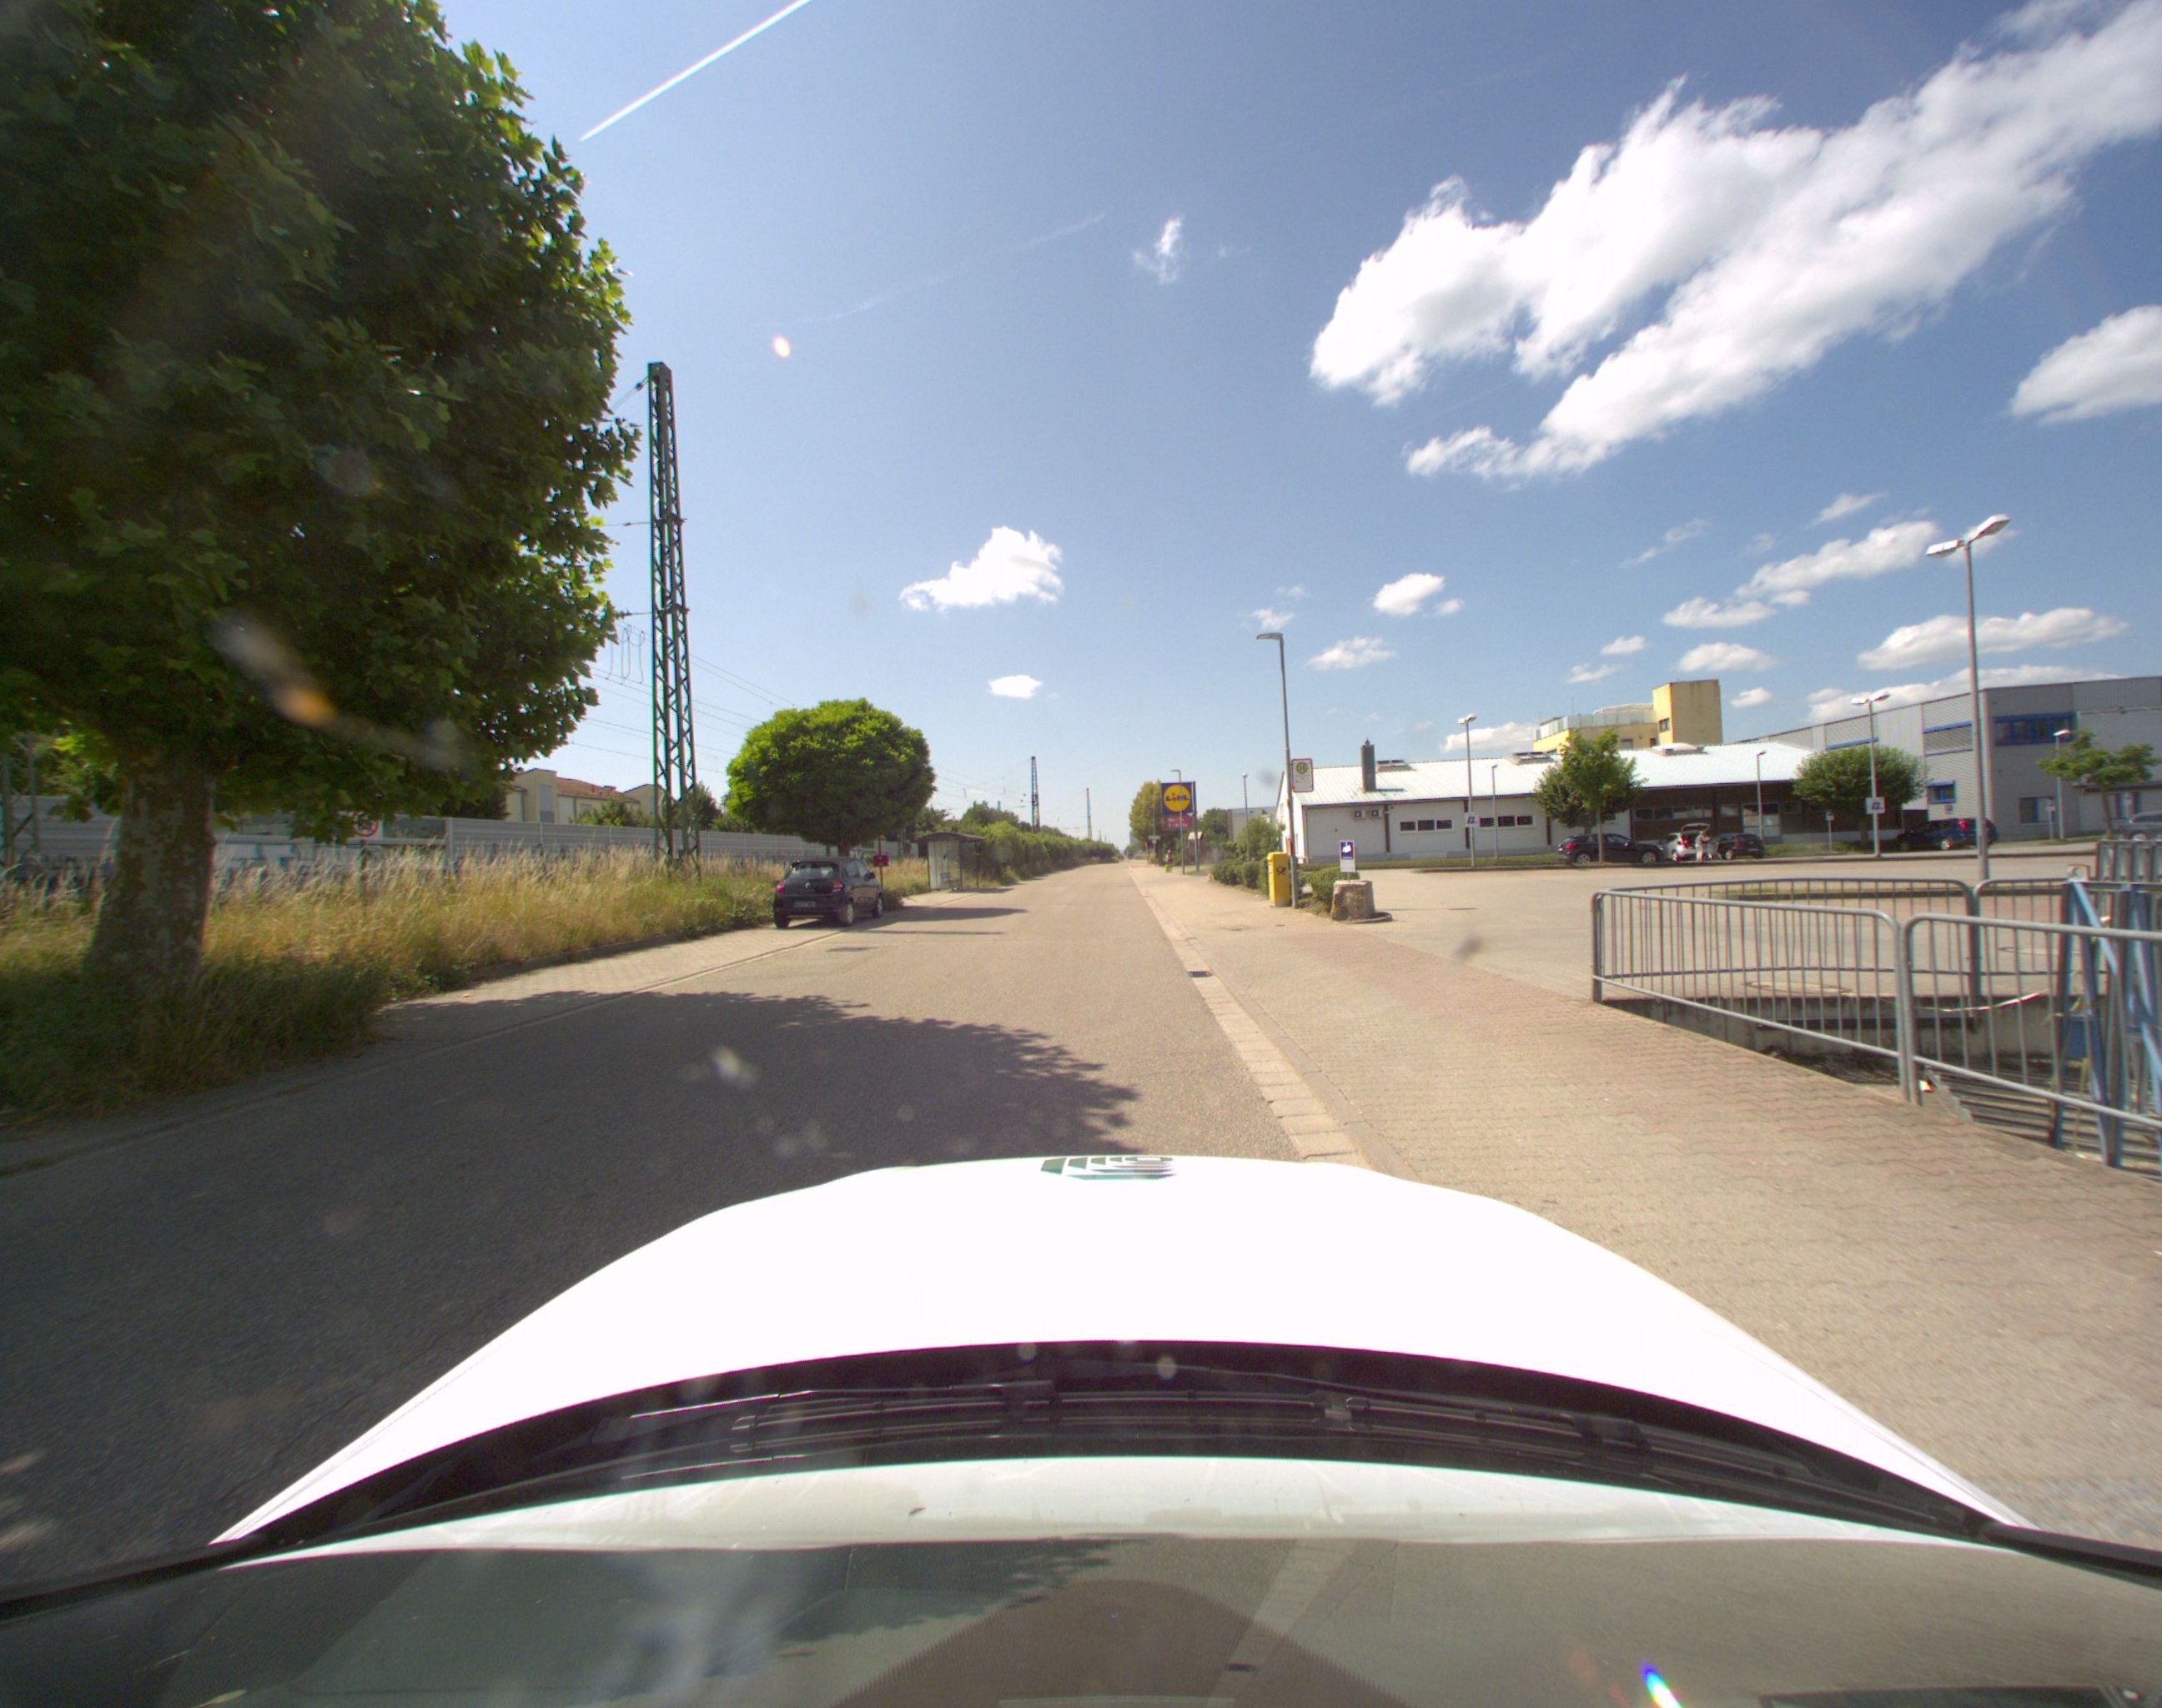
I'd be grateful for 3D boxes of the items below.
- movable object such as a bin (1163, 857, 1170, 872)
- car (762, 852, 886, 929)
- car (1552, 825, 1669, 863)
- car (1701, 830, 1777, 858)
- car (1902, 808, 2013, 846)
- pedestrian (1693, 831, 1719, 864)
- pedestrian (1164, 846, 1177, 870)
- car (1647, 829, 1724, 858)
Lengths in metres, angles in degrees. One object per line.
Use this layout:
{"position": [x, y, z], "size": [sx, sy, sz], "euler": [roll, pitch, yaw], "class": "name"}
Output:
{"position": [5.927, 0.723, 56.663], "size": [0.373, 1.029, 0.498], "euler": [-3, 0, -2], "class": "movable object such as a bin"}
{"position": [-5.955, 0.781, 19.277], "size": [1.736, 1.596, 3.579], "euler": [-2, 0, 0], "class": "car"}
{"position": [23.667, -0.442, 36.587], "size": [3.957, 1.494, 2.008], "euler": [-2, 0, 15], "class": "car"}
{"position": [36.012, -0.509, 44.695], "size": [1.577, 1.425, 3.754], "euler": [-2, 0, 9], "class": "car"}
{"position": [46.485, -1.388, 43.324], "size": [1.877, 1.709, 3.997], "euler": [-3, -2, 9], "class": "car"}
{"position": [32.951, -0.331, 42.935], "size": [0.724, 1.637, 0.785], "euler": [-4, -3, 15], "class": "pedestrian"}
{"position": [6.270, 0.276, 57.212], "size": [0.759, 1.602, 1.210], "euler": [-2, 0, 0], "class": "pedestrian"}
{"position": [33.517, -0.565, 45.276], "size": [1.876, 1.498, 3.912], "euler": [-2, 0, 11], "class": "car"}
